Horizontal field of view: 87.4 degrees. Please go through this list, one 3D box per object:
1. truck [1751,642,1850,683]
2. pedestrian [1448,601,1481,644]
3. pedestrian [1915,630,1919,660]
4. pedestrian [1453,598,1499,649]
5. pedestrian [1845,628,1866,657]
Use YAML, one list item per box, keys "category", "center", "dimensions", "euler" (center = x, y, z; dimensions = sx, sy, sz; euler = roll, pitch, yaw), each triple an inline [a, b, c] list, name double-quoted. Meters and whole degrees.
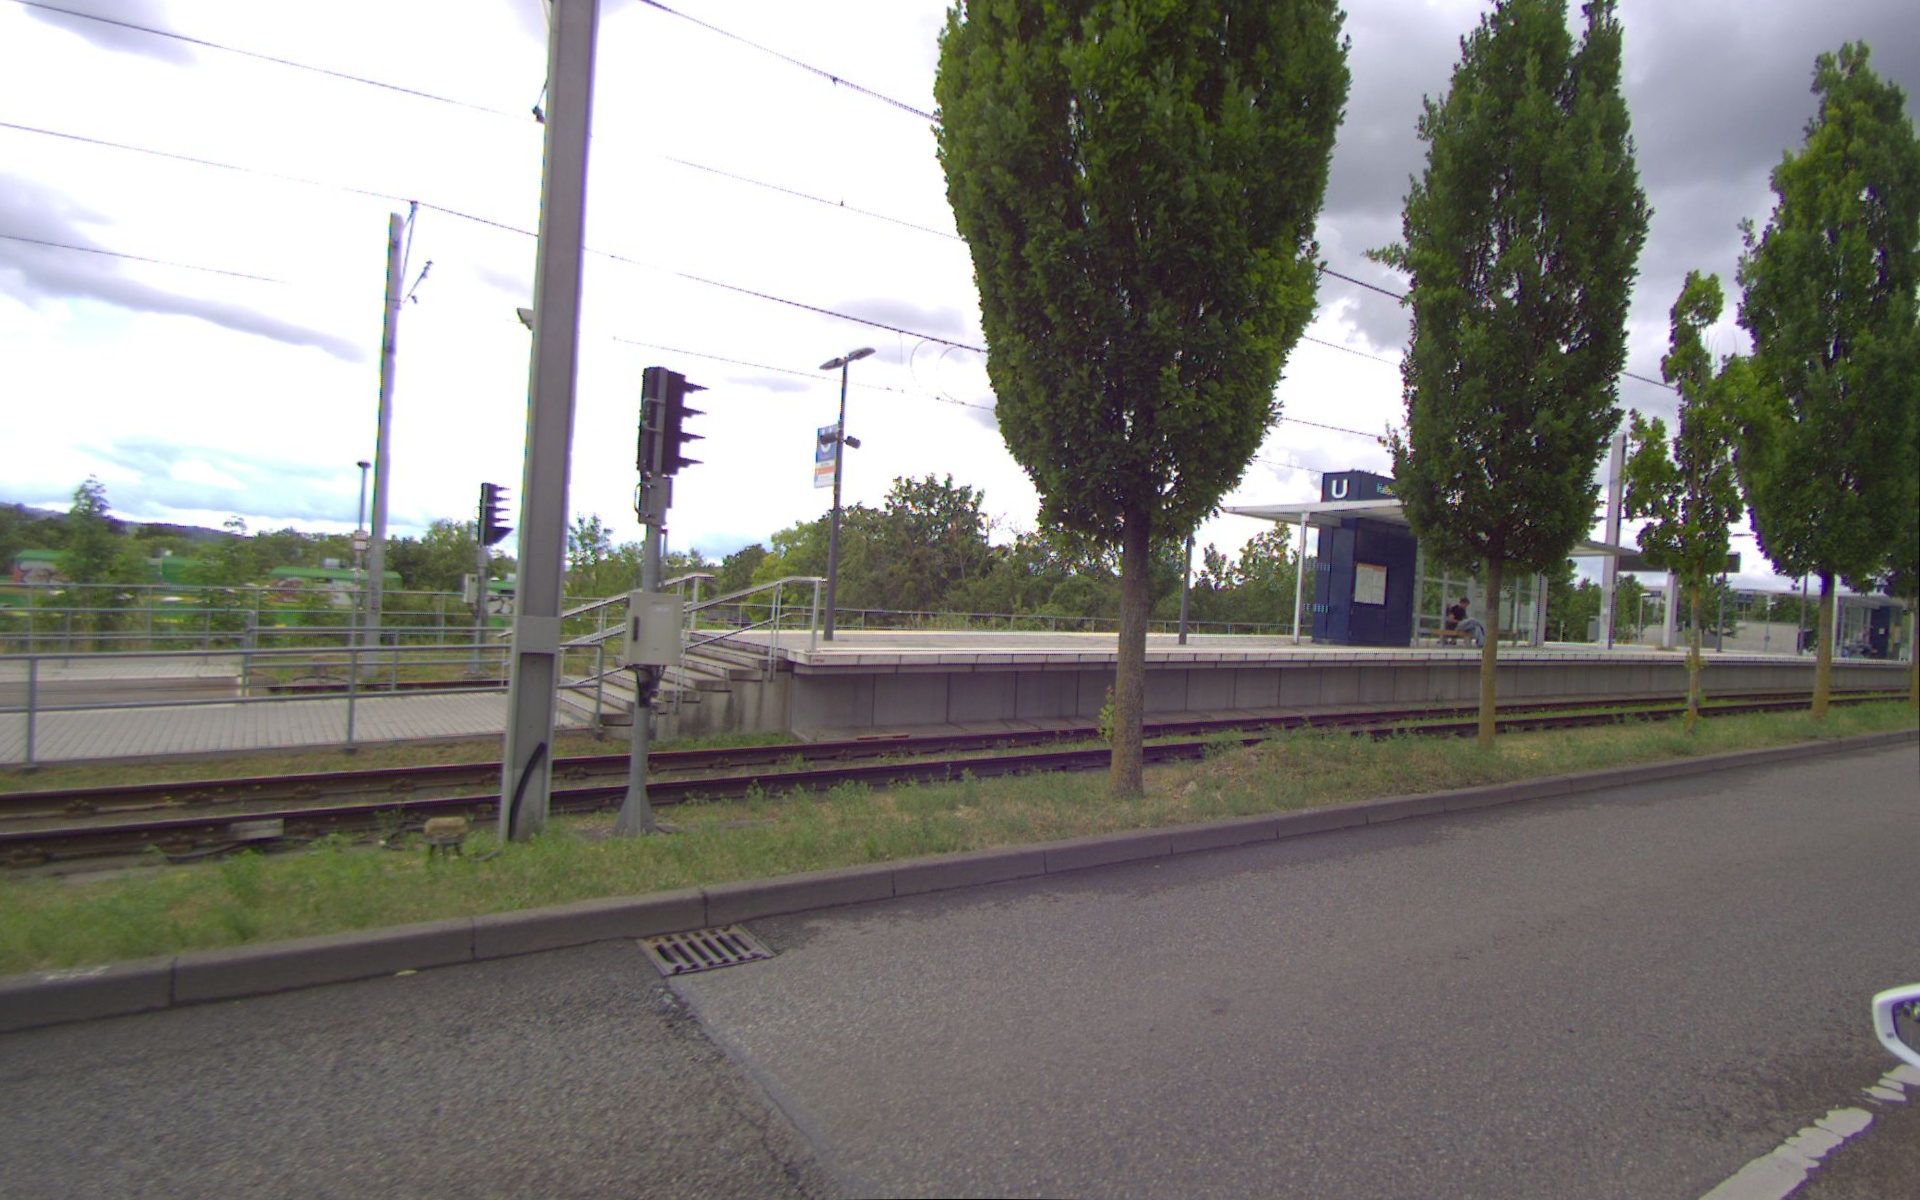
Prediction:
- category: "truck"
  center: [84.392, 6.232, 101.011]
  dimensions: [2.659, 3.647, 7.207]
  euler: [1, 0, -29]
- category: "pedestrian"
  center: [13.033, 0.576, 25.929]
  dimensions: [0.465, 1.093, 0.603]
  euler: [1, 0, -34]
- category: "pedestrian"
  center: [59.090, 2.778, 61.645]
  dimensions: [0.786, 1.851, 0.568]
  euler: [4, -1, -37]
- category: "pedestrian"
  center: [12.723, 0.573, 24.776]
  dimensions: [0.659, 1.215, 0.756]
  euler: [2, -1, -34]
- category: "pedestrian"
  center: [41.308, 1.964, 46.330]
  dimensions: [0.654, 1.286, 0.605]
  euler: [1, 0, -39]
